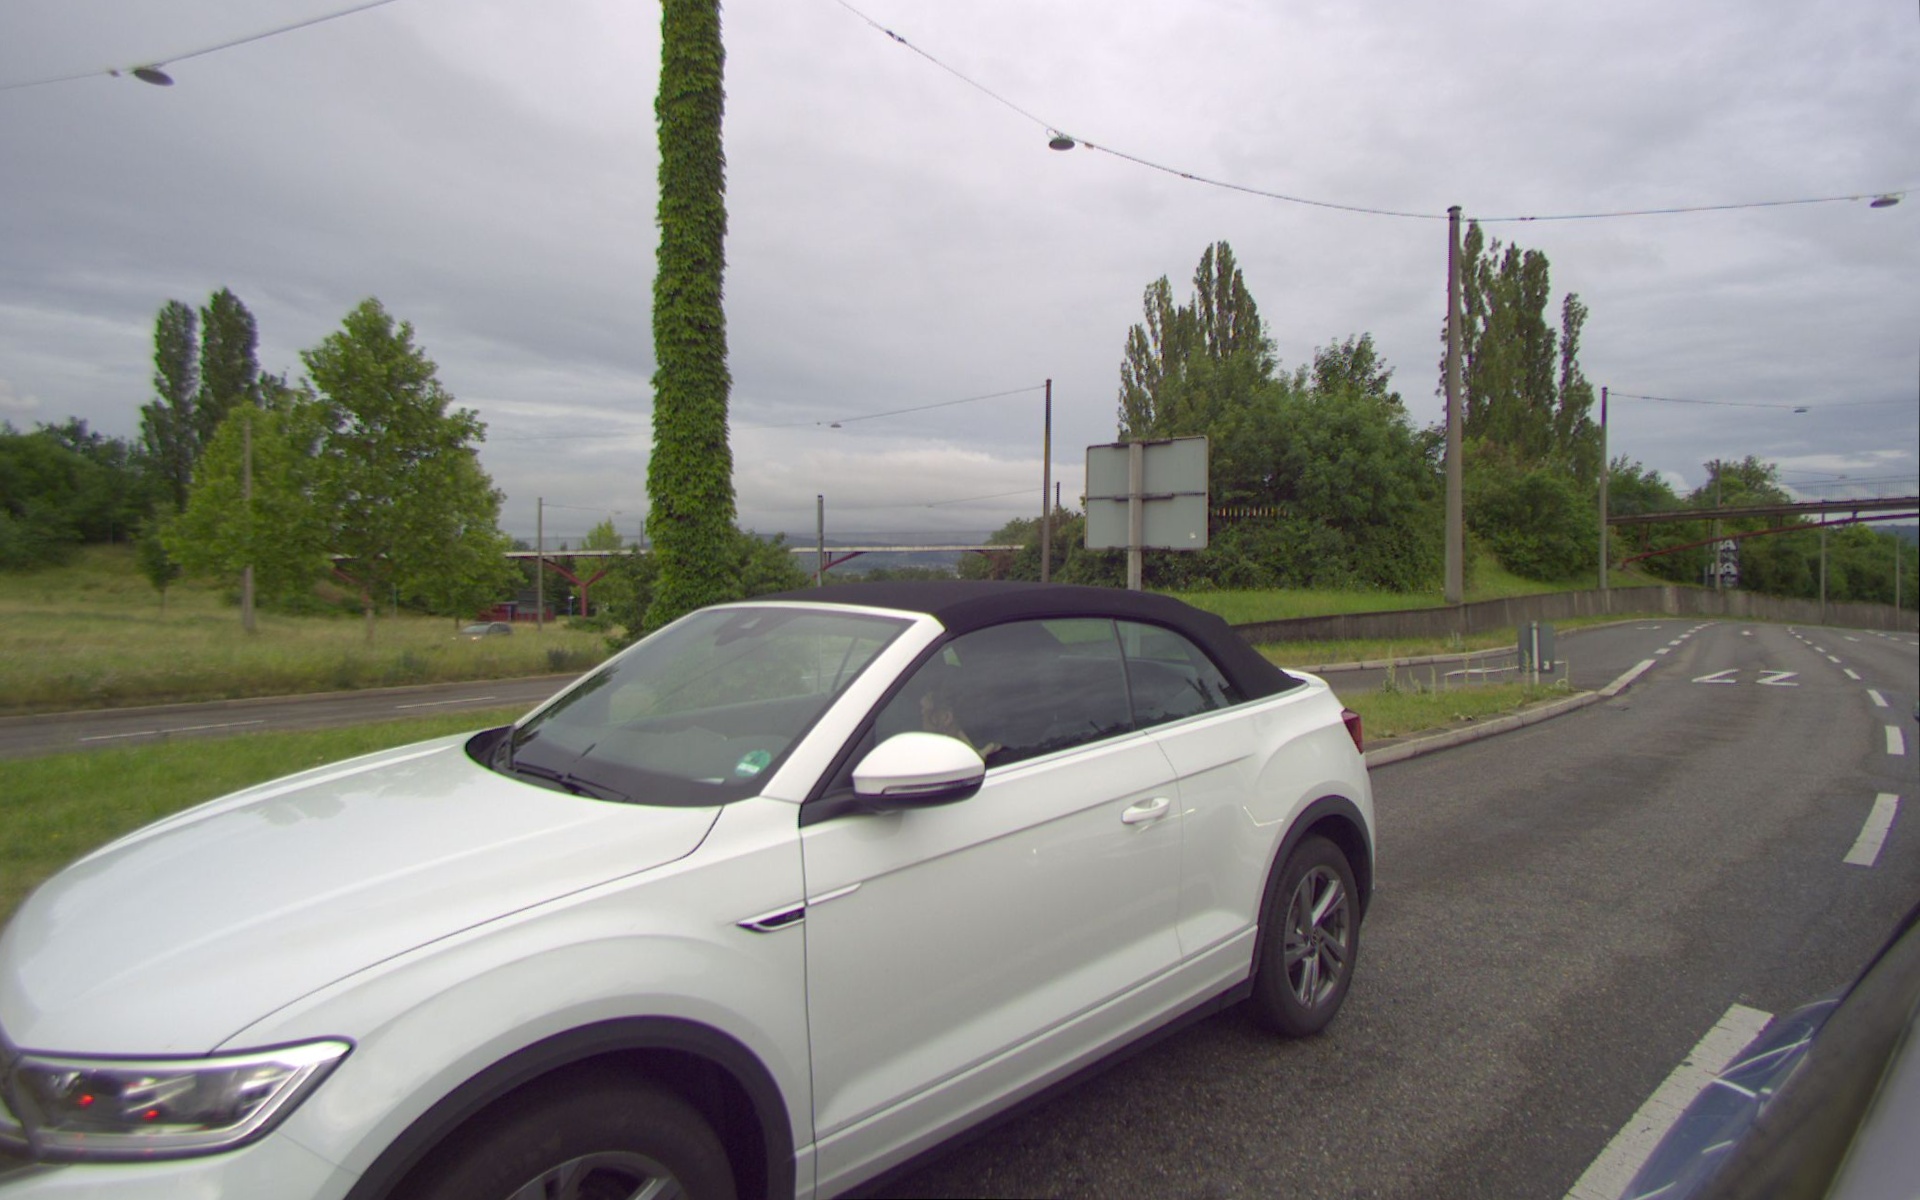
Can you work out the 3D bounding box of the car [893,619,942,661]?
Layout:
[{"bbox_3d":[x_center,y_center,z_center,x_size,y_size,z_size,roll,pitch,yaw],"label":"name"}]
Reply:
[{"bbox_3d":[-2.006,1.918,48.999,1.963,1.872,4.819,-1,-2,2],"label":"car"}]

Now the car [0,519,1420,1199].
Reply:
[{"bbox_3d":[-0.297,0.660,3.077,4.160,1.572,1.714,-1,1,-44],"label":"car"}]

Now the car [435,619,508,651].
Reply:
[{"bbox_3d":[-26.392,1.867,54.830,1.963,1.556,3.959,0,1,2],"label":"car"}]

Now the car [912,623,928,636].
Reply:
[{"bbox_3d":[-4.695,3.488,119.396,1.654,1.438,4.081,0,0,0],"label":"car"}]

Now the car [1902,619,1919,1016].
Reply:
[{"bbox_3d":[5.494,0.753,4.159,4.062,1.385,1.894,-1,1,-40],"label":"car"}]
